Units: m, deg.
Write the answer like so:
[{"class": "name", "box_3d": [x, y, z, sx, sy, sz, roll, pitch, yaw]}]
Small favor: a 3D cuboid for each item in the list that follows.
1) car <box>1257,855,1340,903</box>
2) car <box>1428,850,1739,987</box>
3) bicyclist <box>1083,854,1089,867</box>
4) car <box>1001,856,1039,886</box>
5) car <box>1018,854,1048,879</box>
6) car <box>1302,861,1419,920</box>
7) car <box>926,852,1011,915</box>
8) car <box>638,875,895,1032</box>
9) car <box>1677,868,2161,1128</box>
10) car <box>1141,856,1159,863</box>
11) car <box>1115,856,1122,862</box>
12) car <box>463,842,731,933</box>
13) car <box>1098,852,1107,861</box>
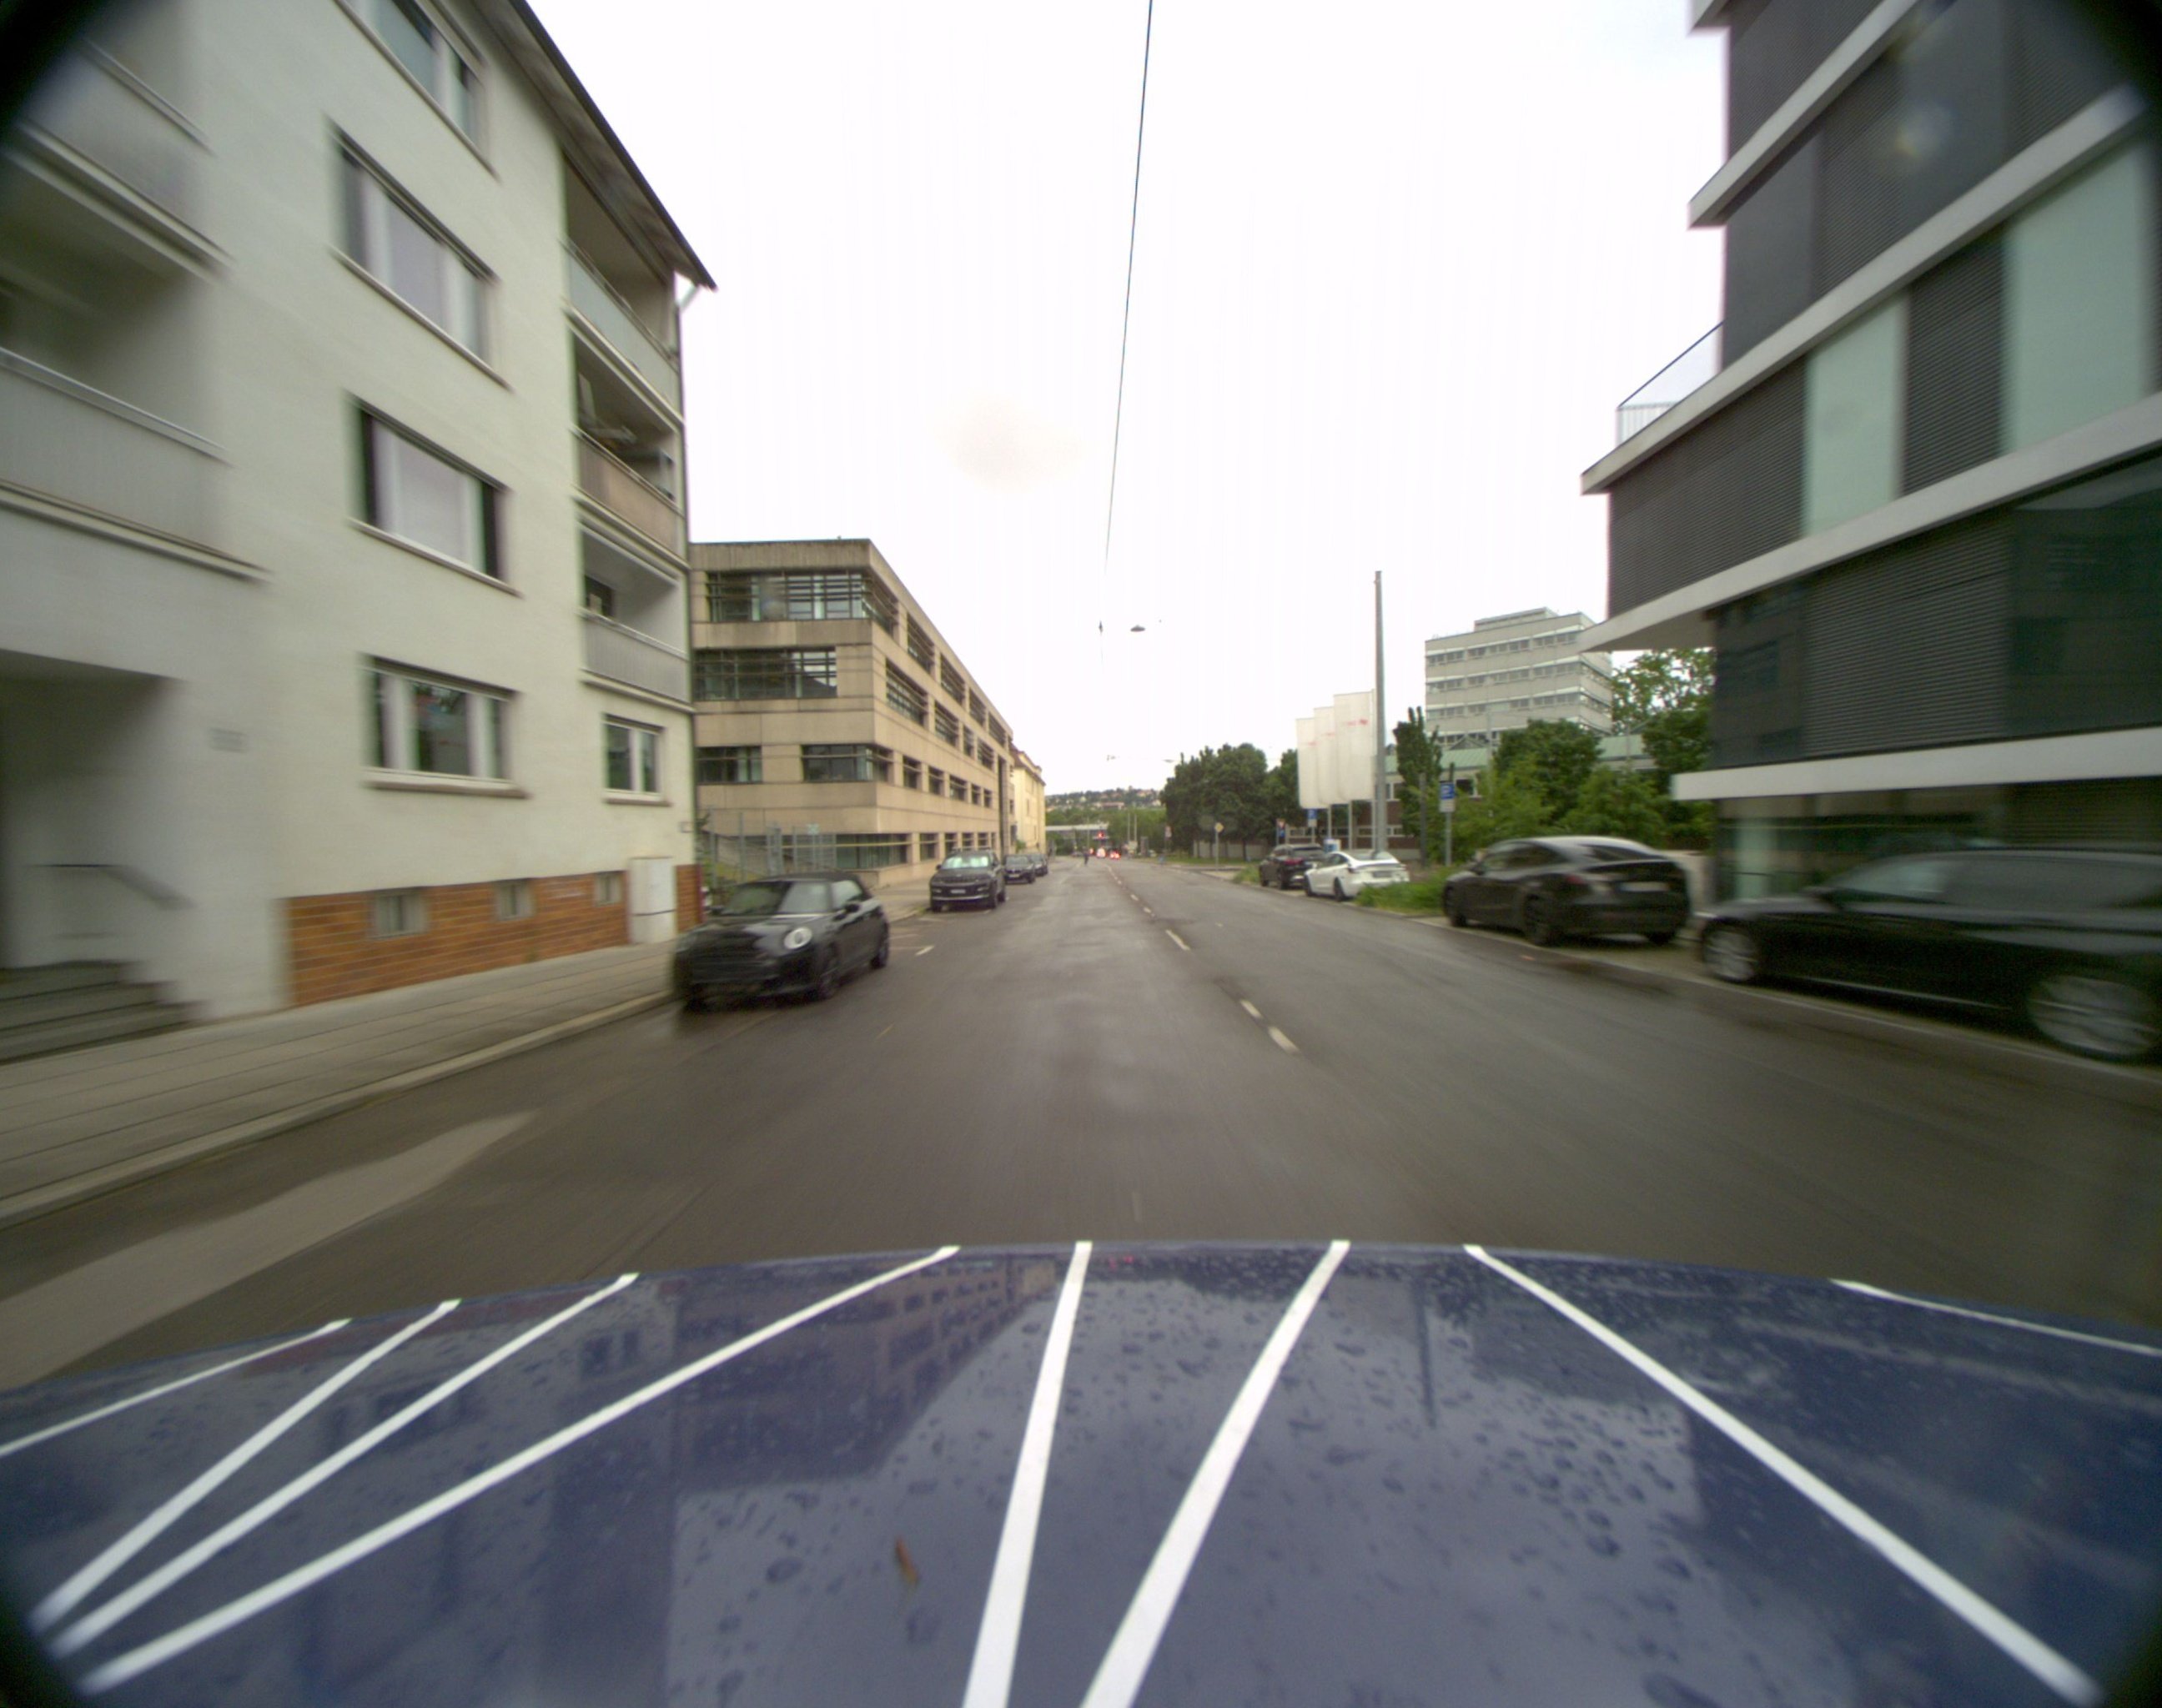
[{"class": "car", "box_3d": [8.110, 0.883, 28.758, 1.854, 1.608, 4.490, -2, 0, 1]}, {"class": "car", "box_3d": [7.699, 0.832, 12.411, 1.967, 1.740, 4.942, -2, 0, 3]}, {"class": "bicyclist", "box_3d": [0.553, 0.675, 82.312, 0.485, 1.425, 0.930, -2, 1, 3]}, {"class": "car", "box_3d": [-3.275, 0.901, 41.367, 1.748, 1.524, 4.319, -1, 0, -1]}, {"class": "car", "box_3d": [-3.246, 0.806, 52.217, 1.730, 1.503, 4.057, -3, 1, 0]}, {"class": "car", "box_3d": [7.951, 0.978, 22.087, 1.825, 1.410, 4.402, -2, 0, 1]}, {"class": "car", "box_3d": [-3.475, 0.850, 24.424, 1.940, 1.740, 4.796, -2, 0, 0]}, {"class": "car", "box_3d": [-3.704, 1.079, 9.734, 1.677, 1.451, 3.764, -1, 1, 0]}, {"class": "car", "box_3d": [7.654, 0.936, 6.216, 1.876, 1.464, 4.740, -2, 0, 1]}, {"class": "car", "box_3d": [16.532, 1.373, 181.489, 1.872, 1.600, 4.515, -2, 1, -33]}, {"class": "car", "box_3d": [9.557, 1.277, 193.995, 1.886, 1.482, 5.221, 1, 0, 3]}, {"class": "car", "box_3d": [-10.145, 0.668, 16.188, 4.449, 1.703, 1.905, 2, 1, 0]}, {"class": "car", "box_3d": [5.994, 0.643, 211.603, 1.988, 2.514, 5.631, 0, 0, -1]}]
